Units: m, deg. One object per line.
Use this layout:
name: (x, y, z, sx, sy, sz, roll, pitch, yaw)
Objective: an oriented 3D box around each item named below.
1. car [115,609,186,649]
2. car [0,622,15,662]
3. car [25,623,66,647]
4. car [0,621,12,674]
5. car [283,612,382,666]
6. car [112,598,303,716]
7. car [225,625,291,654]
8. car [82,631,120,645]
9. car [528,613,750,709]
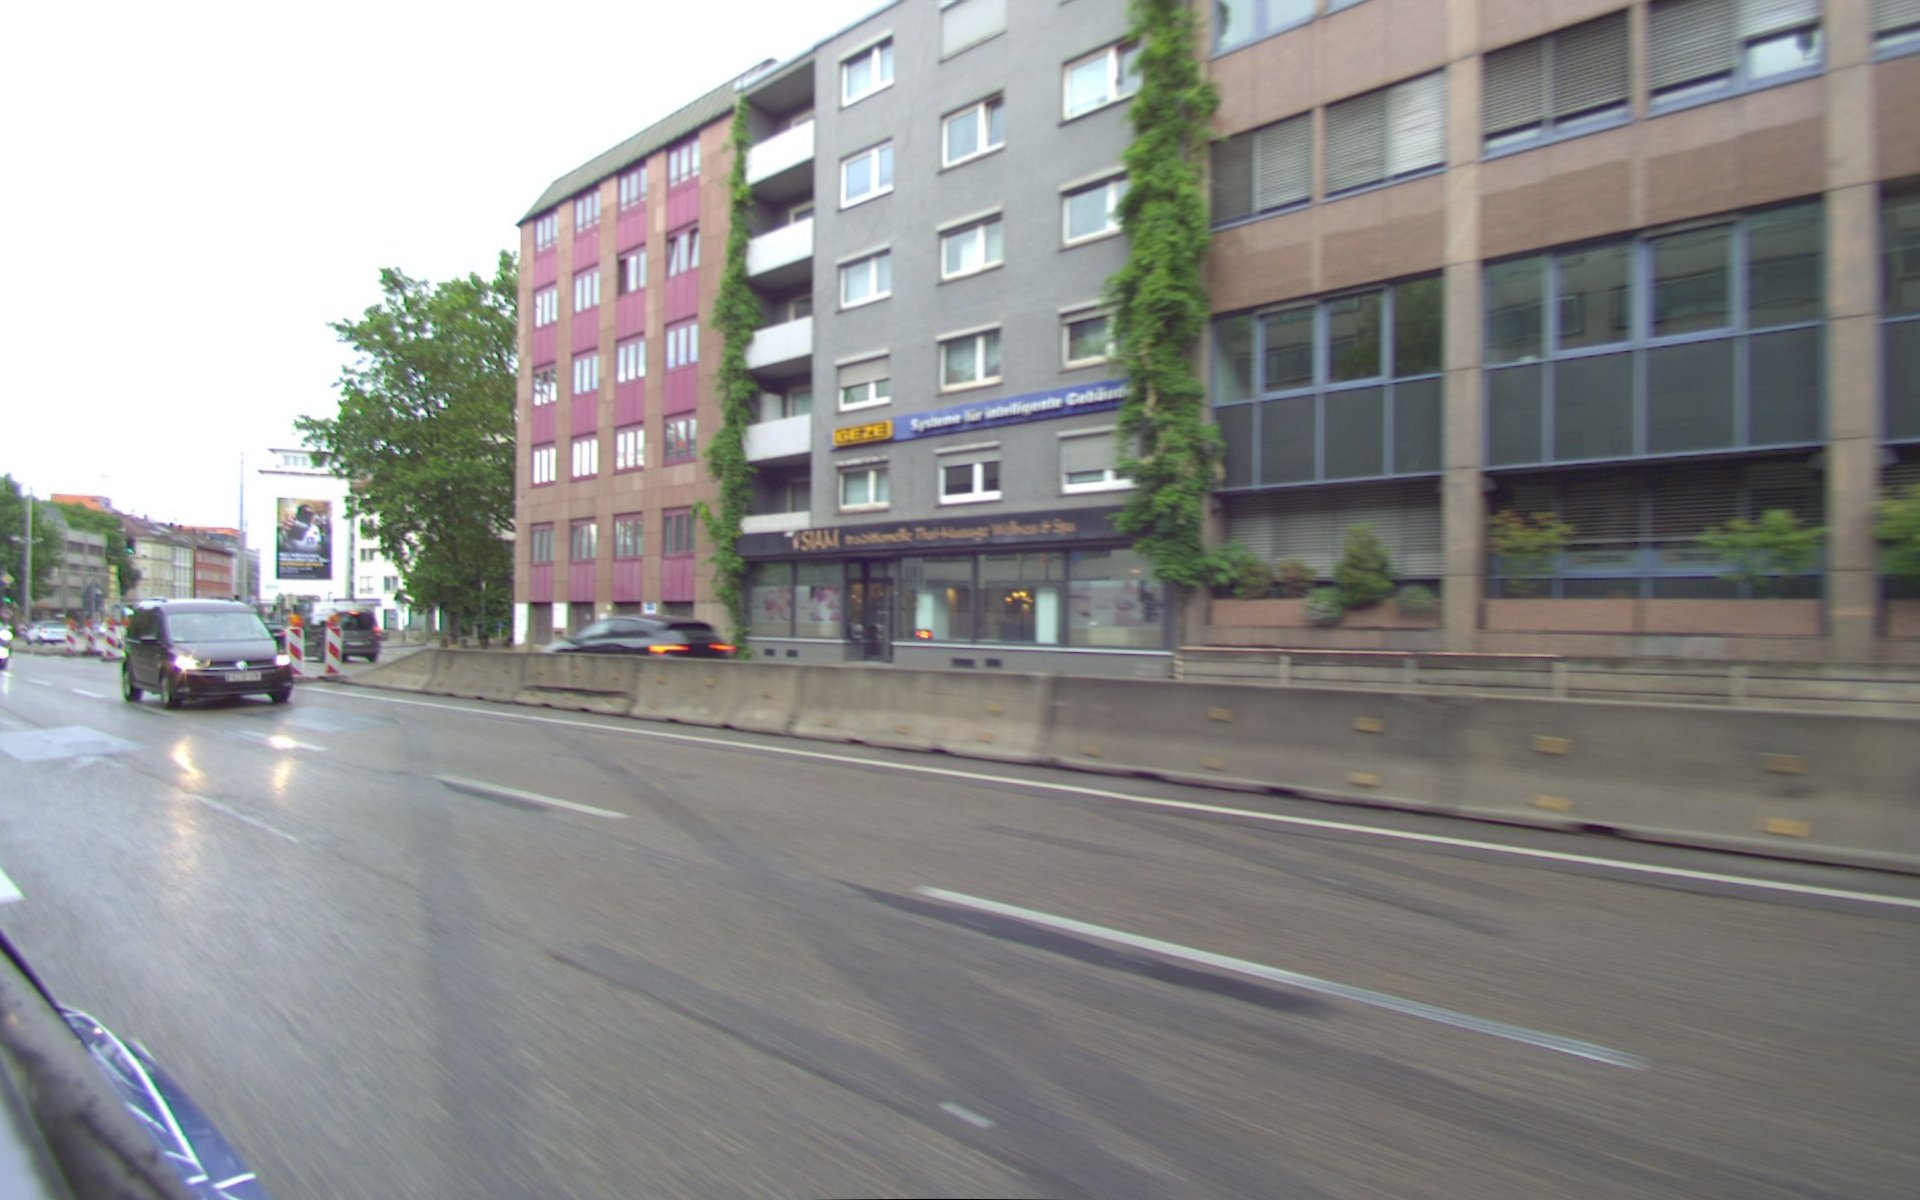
car: (-43.309, 1.559, 54.125, 5.286, 2.005, 1.973, -1, -3, 41)
car: (-39.859, 1.680, 41.086, 3.999, 1.588, 1.823, -1, -3, 42)
car: (-58.554, 2.278, 64.799, 2.947, 1.496, 1.539, -3, -4, 41)
car: (-29.922, 1.420, 30.114, 3.994, 1.552, 1.907, -1, -1, 38)
car: (-22.059, 1.356, 35.524, 4.423, 1.784, 1.703, -1, -3, 41)
car: (-13.181, 0.905, 17.637, 4.122, 1.813, 1.773, -1, 0, 40)
car: (-35.795, 1.991, 51.567, 4.016, 1.410, 1.682, -1, -3, 39)
car: (-88.645, 3.916, 104.437, 1.966, 1.462, 4.242, 2, -2, -26)
car: (-5.895, 1.038, 18.355, 4.227, 1.545, 1.841, -1, -3, 40)
